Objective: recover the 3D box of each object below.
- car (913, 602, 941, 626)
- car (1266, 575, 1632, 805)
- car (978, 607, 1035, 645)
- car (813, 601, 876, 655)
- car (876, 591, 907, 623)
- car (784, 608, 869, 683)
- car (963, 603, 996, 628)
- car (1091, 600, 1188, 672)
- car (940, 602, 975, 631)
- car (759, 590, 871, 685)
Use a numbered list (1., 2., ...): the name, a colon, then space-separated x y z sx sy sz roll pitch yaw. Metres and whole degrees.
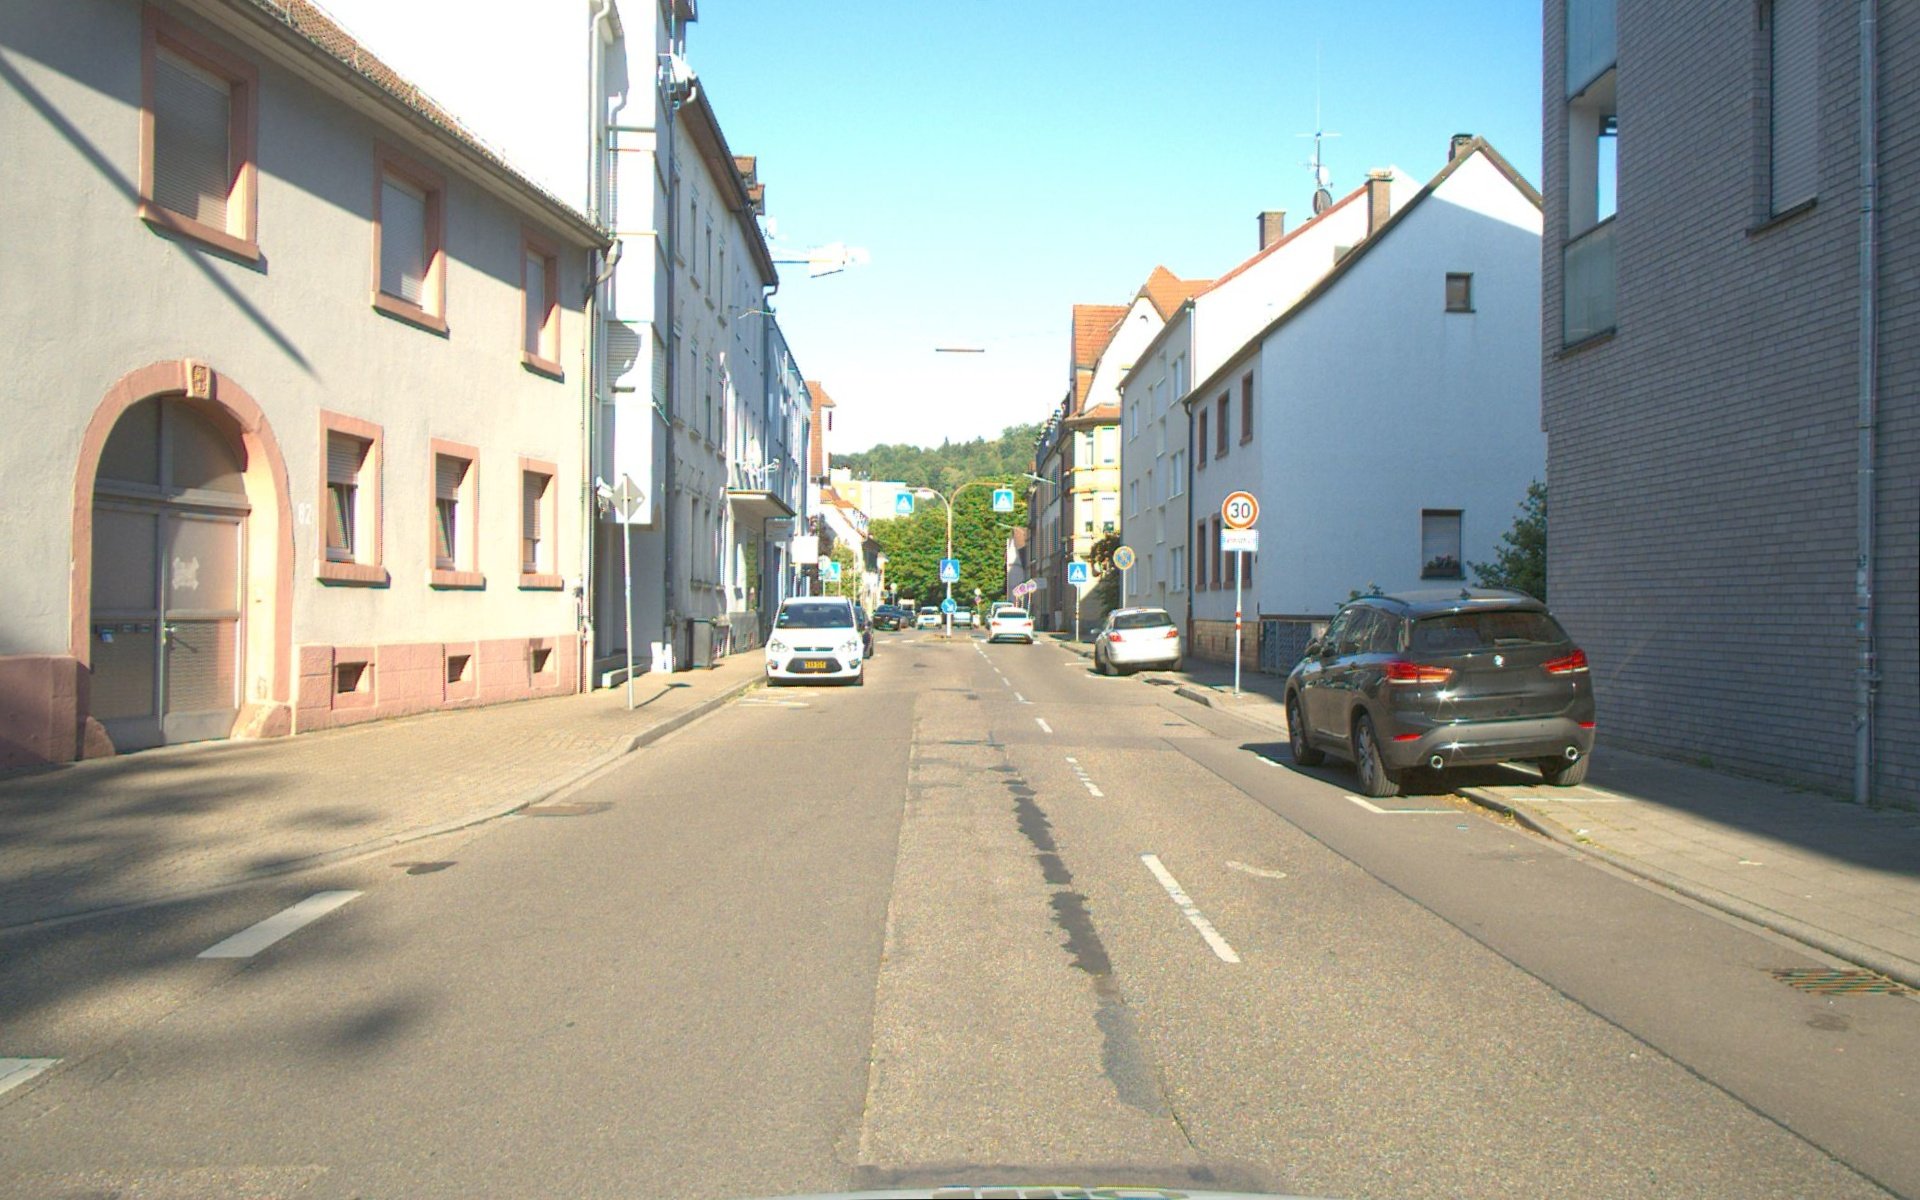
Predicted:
1. car: -2.508 1.023 123.309 1.772 1.731 4.188 -2 0 -5
2. car: 4.136 0.670 14.840 1.817 1.665 4.622 -2 0 -1
3. car: 1.842 1.018 66.792 1.954 1.492 3.997 0 0 -3
4. car: -3.349 0.819 48.526 1.696 1.525 3.957 0 -1 -2
5. car: -4.518 0.453 108.588 1.954 2.049 3.998 1 0 -3
6. car: -2.981 0.979 37.637 1.729 1.522 4.124 -2 0 -3
7. car: 1.593 1.267 138.916 1.958 2.049 3.988 0 0 -12
8. car: 4.094 0.793 38.292 1.706 1.518 4.438 -2 0 0
9. car: -0.192 1.208 120.411 1.957 2.049 3.991 0 0 -9
10. car: -2.751 0.671 31.999 1.954 1.676 5.217 1 0 -4
